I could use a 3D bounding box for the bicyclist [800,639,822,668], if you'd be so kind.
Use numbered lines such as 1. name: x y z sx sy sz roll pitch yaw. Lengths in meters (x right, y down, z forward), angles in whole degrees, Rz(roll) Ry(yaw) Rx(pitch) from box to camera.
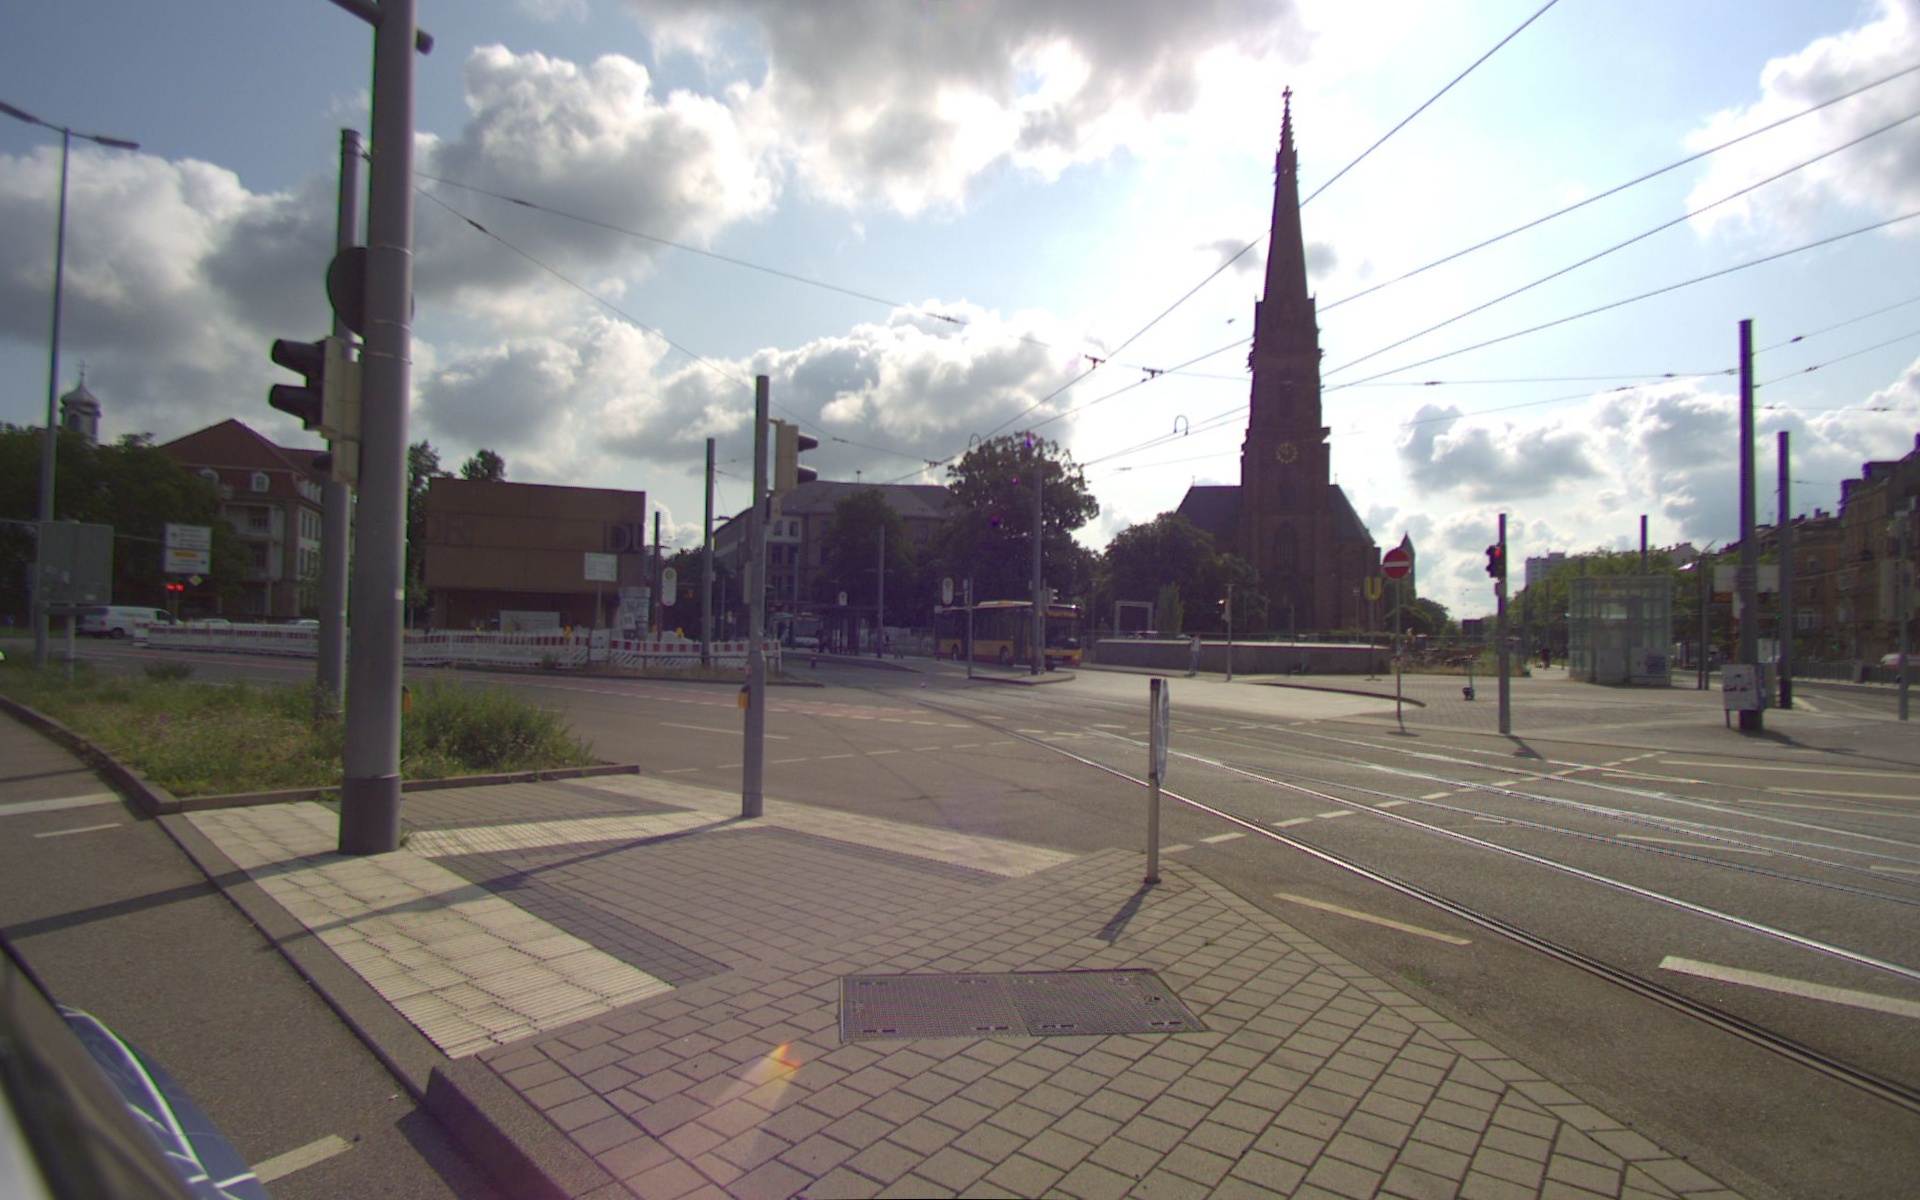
1. bicyclist: -6.268 2.255 42.563 0.685 1.161 0.741 -2 -2 -23

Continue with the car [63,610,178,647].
1. car: -51.101 1.696 61.721 1.986 2.029 5.038 -2 0 22

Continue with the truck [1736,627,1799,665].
1. truck: 79.206 4.483 99.388 3.163 3.311 7.233 -3 -1 26

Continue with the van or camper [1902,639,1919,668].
1. van or camper: 85.402 4.711 89.061 1.989 2.493 5.517 0 -3 25

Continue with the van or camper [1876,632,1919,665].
1. van or camper: 64.705 3.287 68.822 2.001 1.929 4.491 -2 0 21

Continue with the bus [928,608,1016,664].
1. bus: 0.510 1.782 50.361 2.655 2.607 5.094 2 -2 -21

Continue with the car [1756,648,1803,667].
1. car: 68.301 4.754 84.370 1.987 1.519 3.968 0 -2 23

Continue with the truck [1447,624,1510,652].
1. truck: 70.632 5.175 137.991 7.394 3.676 2.454 0 -2 20

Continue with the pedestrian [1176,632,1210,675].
1. pedestrian: 10.170 2.338 44.197 0.914 1.701 1.101 -6 4 -23

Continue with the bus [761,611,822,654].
1. bus: -15.166 2.761 90.185 2.914 3.534 12.293 -1 0 -21

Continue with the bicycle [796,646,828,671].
1. bicycle: -6.248 2.450 42.534 0.798 1.000 2.076 -2 -2 -23

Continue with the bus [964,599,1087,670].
1. bus: 2.707 1.529 44.640 2.653 2.855 7.123 2 -2 -21

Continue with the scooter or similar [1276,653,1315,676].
1. scooter or similar: 14.391 2.768 43.360 1.635 0.957 0.475 2 -2 -20

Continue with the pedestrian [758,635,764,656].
1. pedestrian: -15.682 3.558 79.660 0.352 1.614 0.365 -1 -1 -28

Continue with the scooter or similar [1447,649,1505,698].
1. scooter or similar: 13.894 1.959 27.260 1.332 1.198 1.481 -2 0 27
